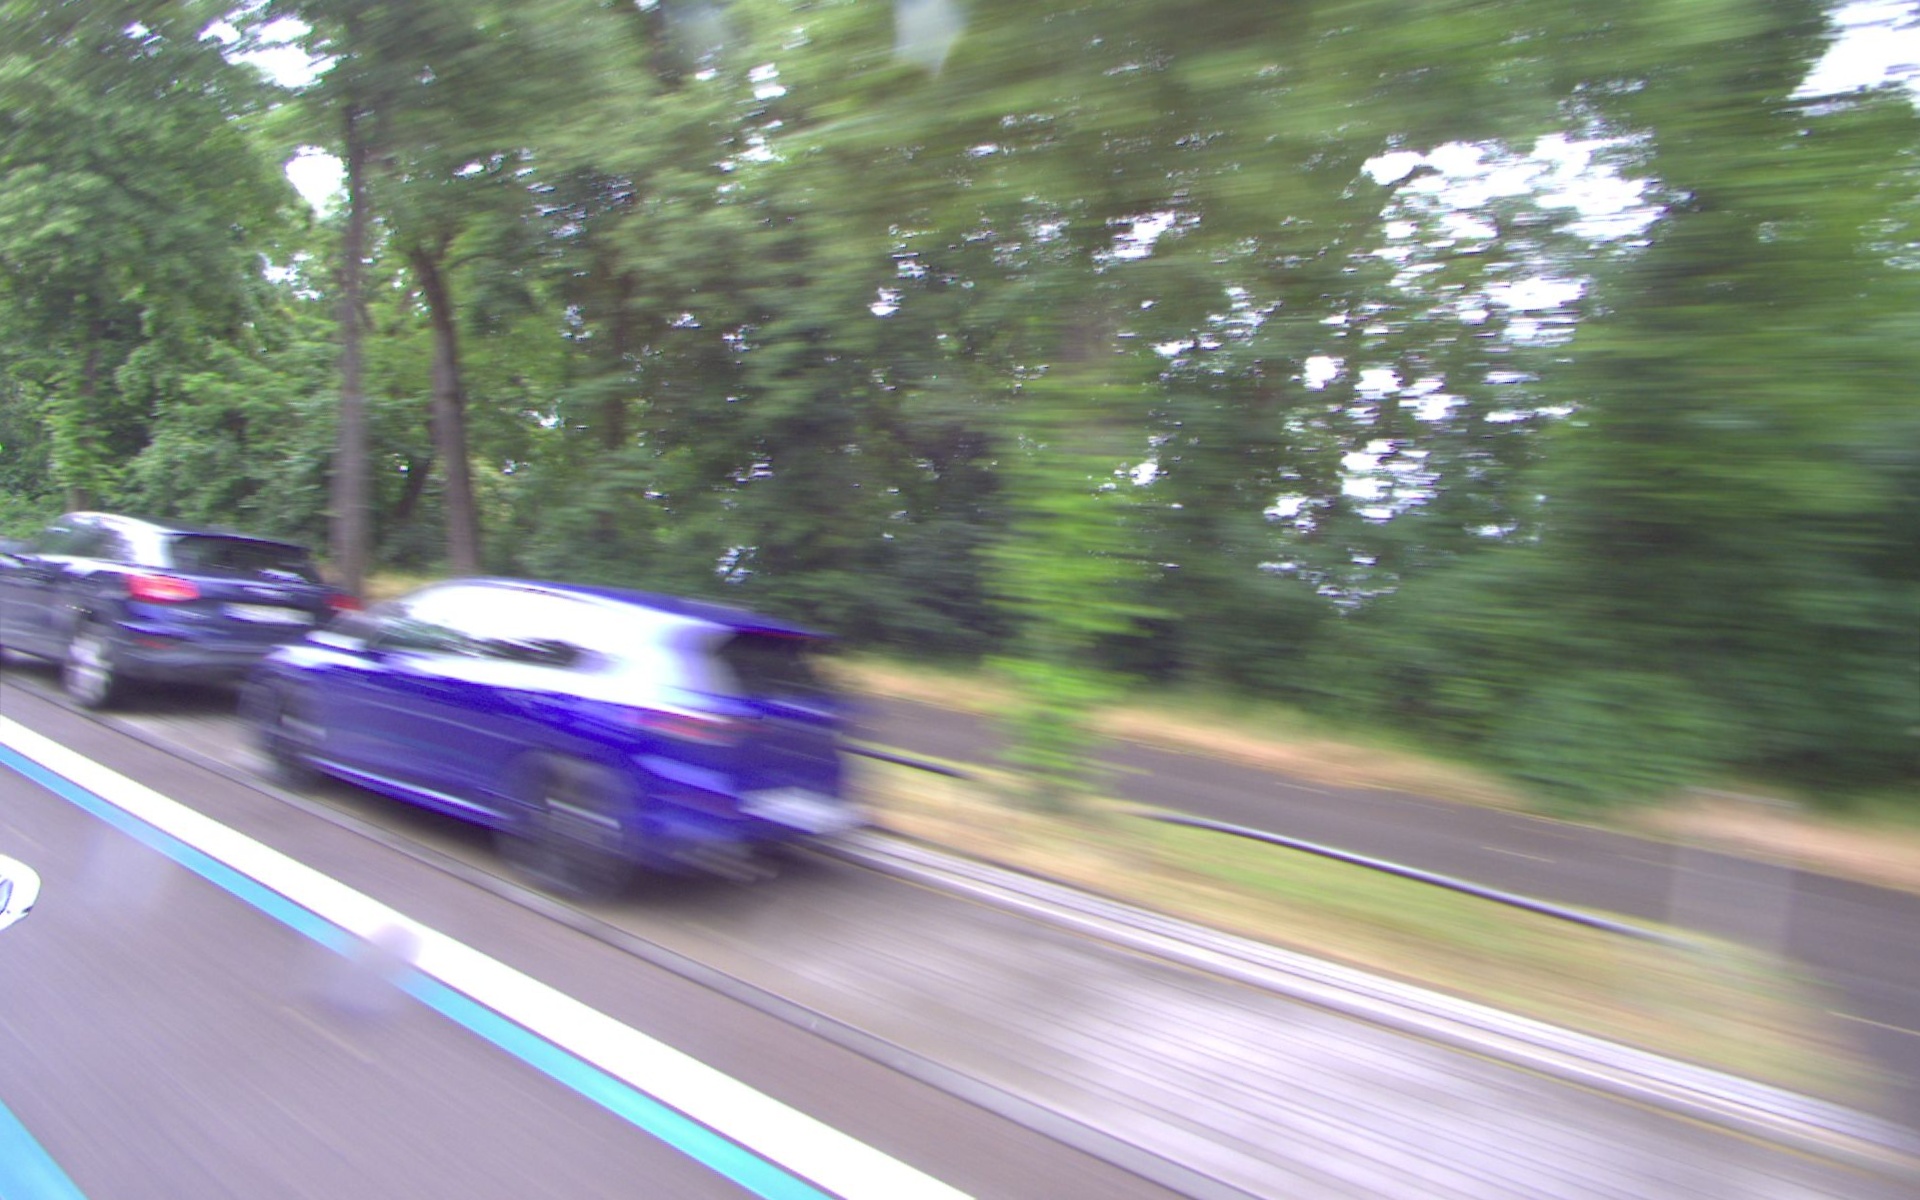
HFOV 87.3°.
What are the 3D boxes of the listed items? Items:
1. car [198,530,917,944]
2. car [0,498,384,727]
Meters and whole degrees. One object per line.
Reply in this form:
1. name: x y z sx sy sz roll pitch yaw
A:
1. car: -2.557 0.581 6.048 4.247 1.498 1.685 6 -2 32
2. car: -7.132 0.049 8.898 3.909 1.530 1.717 6 -2 31
